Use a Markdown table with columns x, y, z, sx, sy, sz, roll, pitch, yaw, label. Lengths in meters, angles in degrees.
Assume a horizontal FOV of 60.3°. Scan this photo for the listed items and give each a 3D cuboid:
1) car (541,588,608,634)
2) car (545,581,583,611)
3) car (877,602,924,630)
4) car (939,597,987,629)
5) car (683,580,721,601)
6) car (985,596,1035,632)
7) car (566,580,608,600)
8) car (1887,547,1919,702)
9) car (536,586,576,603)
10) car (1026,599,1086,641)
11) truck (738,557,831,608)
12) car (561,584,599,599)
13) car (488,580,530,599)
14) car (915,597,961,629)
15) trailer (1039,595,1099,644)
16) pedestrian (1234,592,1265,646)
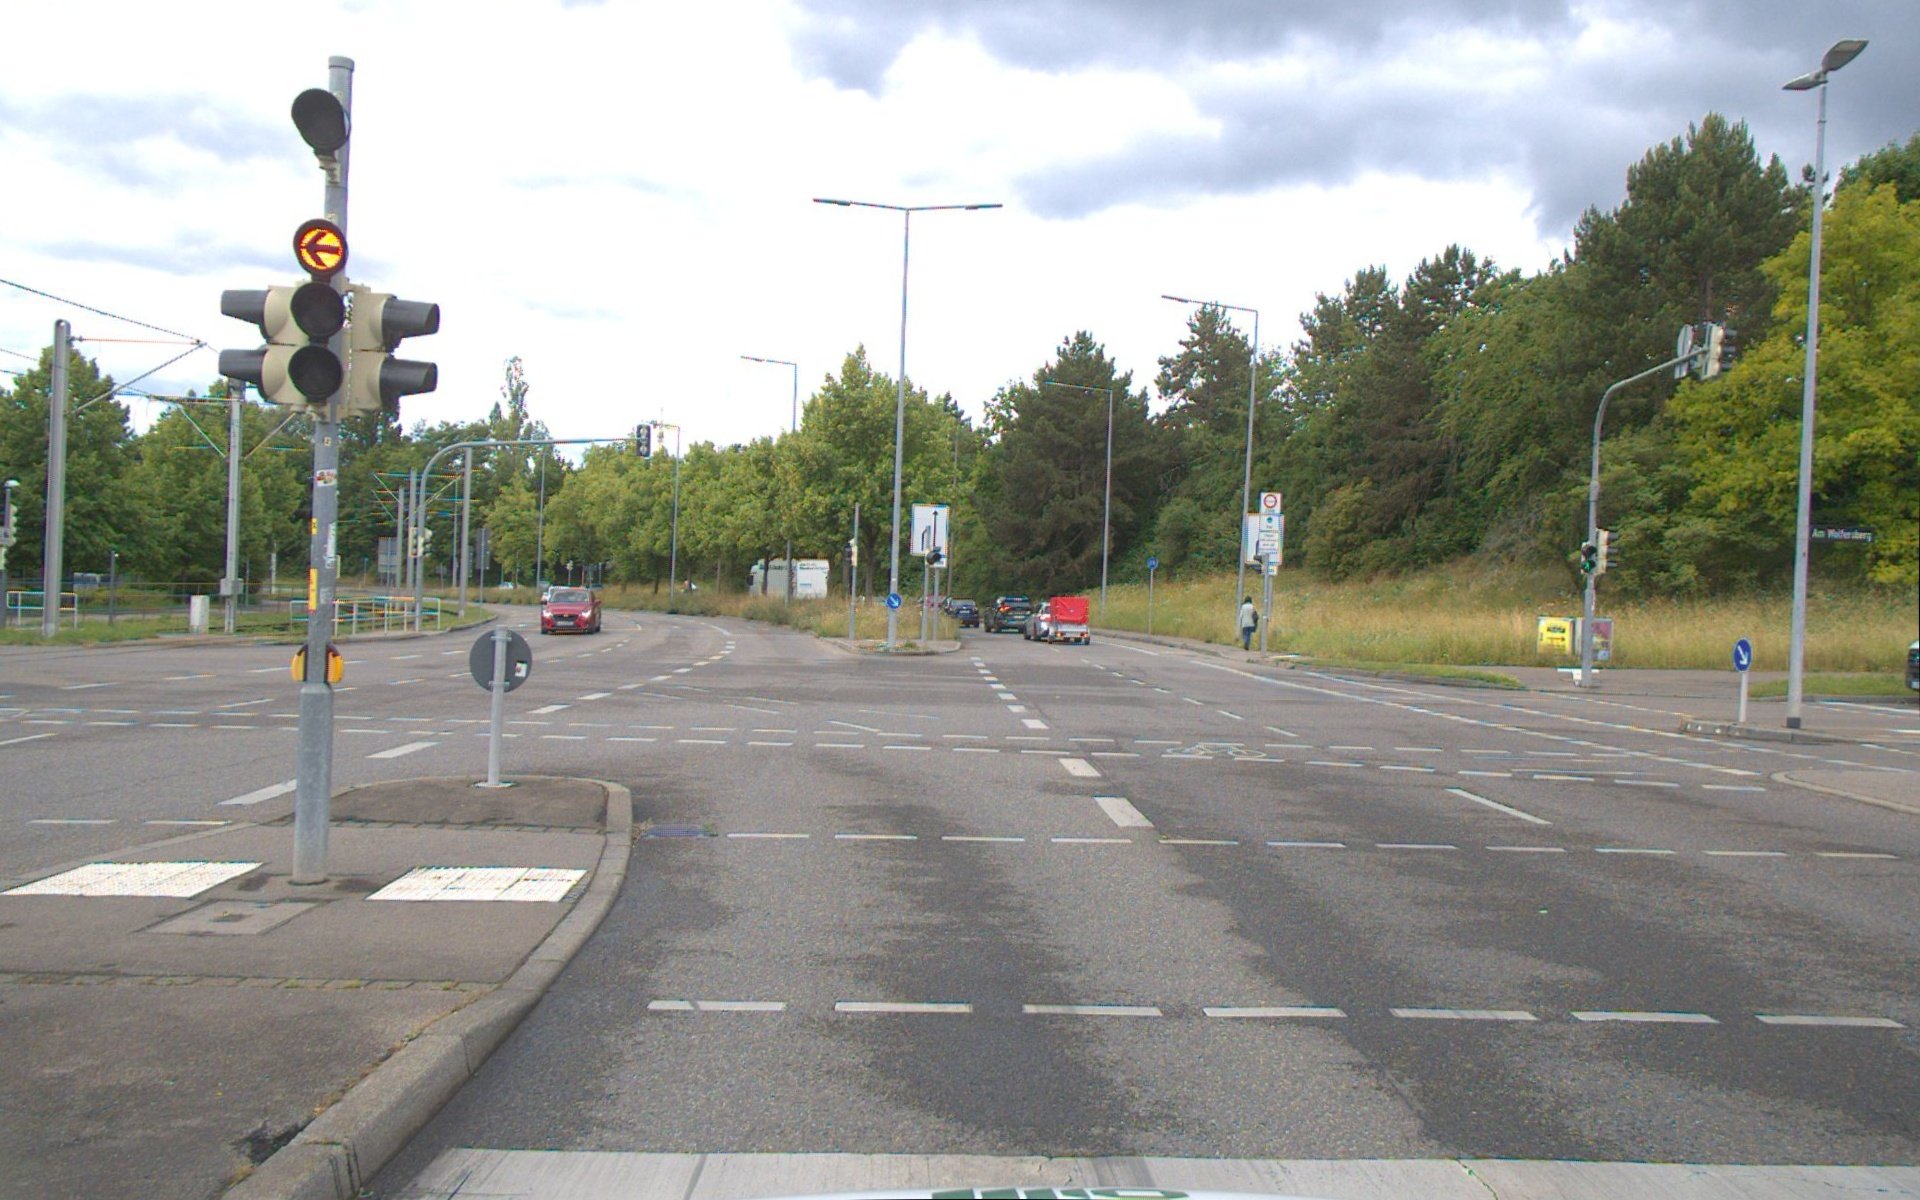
| x | y | z | sx | sy | sz | roll | pitch | yaw | label |
| --- | --- | --- | --- | --- | --- | --- | --- | --- | --- |
| -12.626 | 0.333 | 54.335 | 1.747 | 1.468 | 4.417 | 0 | 0 | -8 | car |
| -22.058 | -0.218 | 92.209 | 1.795 | 1.657 | 4.415 | 0 | 0 | -10 | car |
| -3.575 | 0.917 | 98.948 | 1.750 | 1.573 | 4.005 | 1 | 0 | -18 | car |
| 0.115 | 0.639 | 84.937 | 1.746 | 1.573 | 4.015 | 1 | 0 | -10 | car |
| -20.307 | -0.728 | 130.037 | 1.758 | 1.573 | 3.987 | 1 | 0 | -29 | car |
| 2.237 | 0.611 | 75.180 | 1.744 | 1.573 | 4.019 | 1 | 0 | -6 | car |
| -32.380 | -0.879 | 143.603 | 1.981 | 1.713 | 3.943 | 1 | 0 | -39 | car |
| 20.339 | 0.467 | 30.090 | 5.772 | 2.830 | 2.135 | 0 | 0 | -1 | car |
| -39.207 | -0.526 | 160.521 | 1.742 | 1.573 | 4.024 | 1 | 0 | 22 | car |
| 3.602 | 0.733 | 62.680 | 1.743 | 1.446 | 4.455 | 1 | 0 | -4 | car |
| -12.421 | -1.261 | 116.016 | 2.707 | 3.387 | 11.309 | 1 | 0 | -26 | truck |
| -40.668 | -0.876 | 176.899 | 1.744 | 1.573 | 4.018 | 1 | 0 | 29 | car |
| -41.499 | -0.999 | 152.278 | 3.932 | 1.713 | 1.986 | 1 | 0 | 44 | car |
| -1.241 | 0.692 | 91.068 | 1.747 | 1.573 | 4.012 | -1 | 2 | -13 | car |
| 3.850 | 0.663 | 58.944 | 1.730 | 1.644 | 3.042 | 1 | 0 | -4 | trailer |
| 9.010 | 0.599 | 51.507 | 0.797 | 1.656 | 0.790 | 1 | 0 | -1 | pedestrian |
